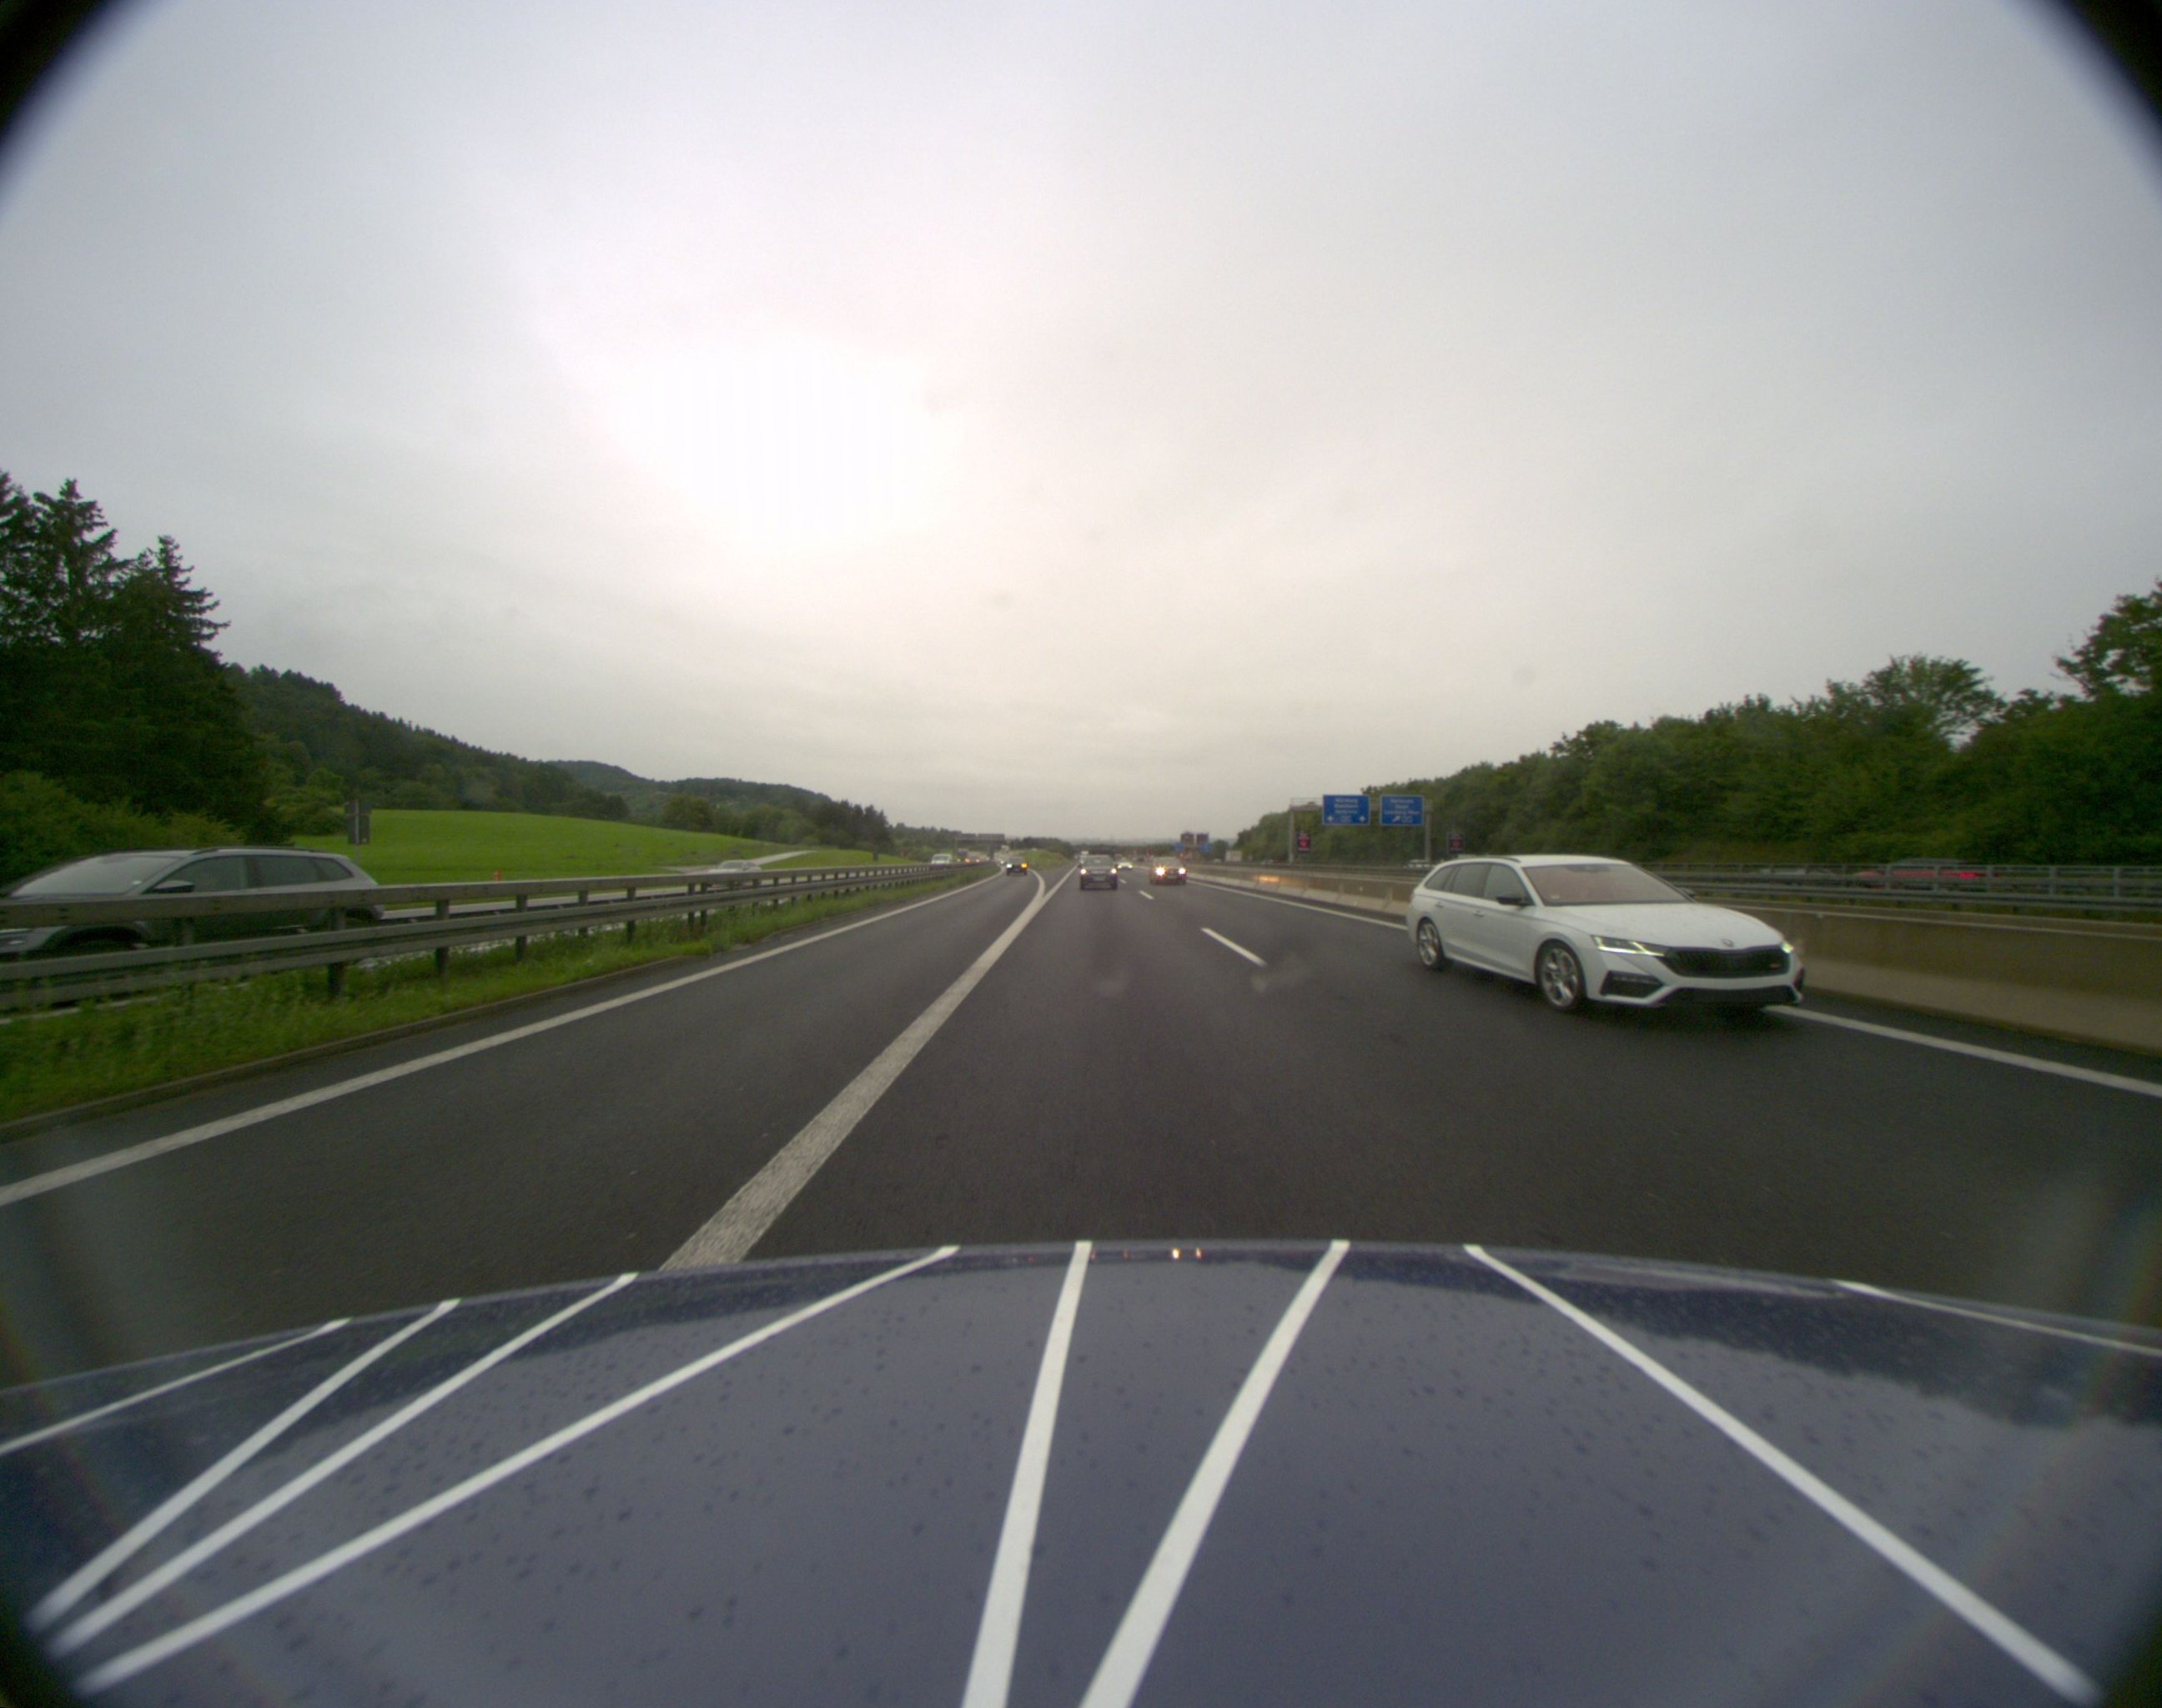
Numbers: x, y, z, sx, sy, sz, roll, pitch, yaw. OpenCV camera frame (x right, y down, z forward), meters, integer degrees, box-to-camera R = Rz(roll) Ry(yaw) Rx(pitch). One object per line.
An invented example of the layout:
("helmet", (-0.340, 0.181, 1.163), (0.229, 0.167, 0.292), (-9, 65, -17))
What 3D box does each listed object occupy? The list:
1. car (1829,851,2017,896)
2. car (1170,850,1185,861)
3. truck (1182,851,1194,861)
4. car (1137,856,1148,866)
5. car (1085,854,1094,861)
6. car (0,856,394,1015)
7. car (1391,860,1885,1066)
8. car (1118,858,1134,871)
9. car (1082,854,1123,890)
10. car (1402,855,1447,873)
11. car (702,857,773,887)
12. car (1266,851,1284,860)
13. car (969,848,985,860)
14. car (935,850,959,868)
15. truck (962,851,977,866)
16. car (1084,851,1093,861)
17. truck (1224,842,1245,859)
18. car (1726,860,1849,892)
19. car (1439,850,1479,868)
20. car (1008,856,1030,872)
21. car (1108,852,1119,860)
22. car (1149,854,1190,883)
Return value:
("car", (30.879, 0.658, 28.111), (1.823, 1.448, 4.567), (-1, 1, -2))
("car", (17.538, 0.255, 138.106), (1.998, 2.002, 4.982), (-1, 1, 0))
("truck", (34.569, 0.669, 245.671), (2.858, 3.202, 9.078), (-1, 1, 1))
("car", (14.077, 1.569, 173.972), (1.998, 2.002, 4.982), (-1, 1, 0))
("car", (1.788, 0.676, 165.357), (1.919, 1.481, 4.566), (-1, 1, -1))
("car", (-10.602, 0.746, 8.731), (1.671, 1.374, 4.125), (1, 1, 0))
("car", (5.203, 0.850, 8.153), (1.823, 1.448, 4.777), (-1, 1, 0))
("car", (5.457, 1.252, 92.546), (1.726, 1.481, 4.566), (-1, 1, 0))
("car", (0.983, 0.841, 37.164), (1.813, 1.571, 3.834), (-1, 1, -1))
("car", (29.351, 0.818, 65.096), (1.823, 1.448, 4.268), (-1, 1, -1))
("car", (-19.020, 0.951, 42.324), (1.904, 1.446, 4.709), (-1, 1, -1))
("car", (33.591, 0.237, 131.703), (1.823, 1.484, 4.474), (-1, 1, -1))
("car", (-17.141, -0.034, 125.783), (2.130, 2.002, 5.075), (-1, 1, -2))
("car", (-13.746, 0.478, 78.101), (1.914, 1.684, 4.717), (-1, 1, -3))
("truck", (-30.025, 1.040, 204.733), (2.799, 3.878, 10.024), (-1, 1, -3))
("car", (1.668, 0.449, 171.769), (2.016, 1.994, 4.566), (-1, 1, -1))
("truck", (37.205, -0.909, 184.286), (3.082, 3.856, 9.634), (-1, 1, 1))
("car", (36.045, 1.085, 38.963), (1.823, 1.448, 4.777), (-1, 1, -1))
("car", (36.993, 0.485, 74.511), (1.823, 1.622, 4.058), (-1, 1, -1))
("car", (-5.829, 0.912, 71.939), (1.867, 1.349, 4.565), (-1, 1, -3))
("car", (6.021, 0.322, 141.366), (1.726, 1.481, 4.566), (-1, 1, -1))
("car", (4.887, 0.761, 42.406), (1.726, 1.481, 4.566), (-1, 1, 0))
